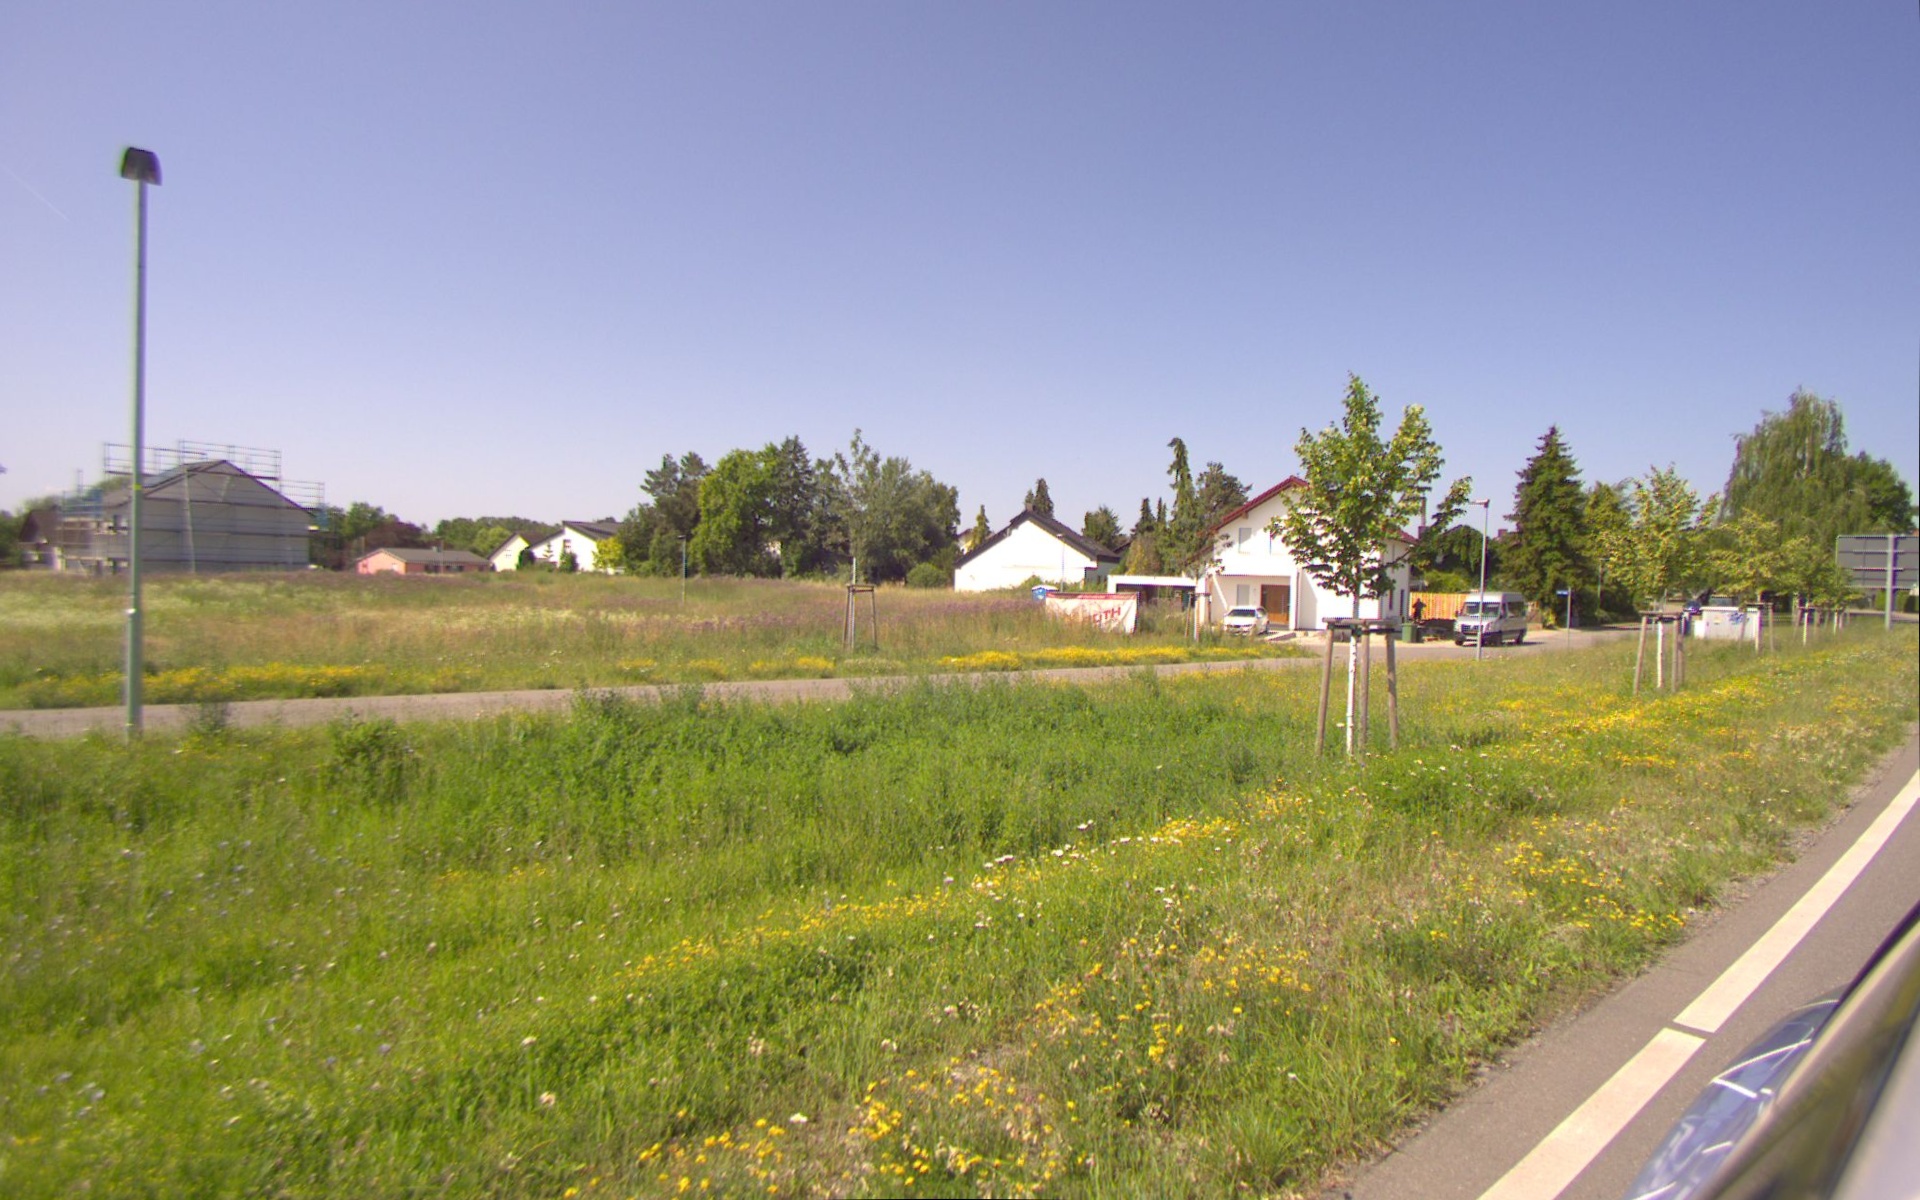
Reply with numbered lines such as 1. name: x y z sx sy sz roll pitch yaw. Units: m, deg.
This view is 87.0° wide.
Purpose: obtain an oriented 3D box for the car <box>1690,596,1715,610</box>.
1. car: 78.978 0.288 107.624 1.856 1.463 4.107 0 0 41

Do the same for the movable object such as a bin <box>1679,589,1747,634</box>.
1. movable object such as a bin: 44.811 0.594 60.172 2.317 2.494 6.834 1 1 44

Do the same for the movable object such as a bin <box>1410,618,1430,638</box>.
1. movable object such as a bin: 22.491 1.359 49.504 0.627 0.949 0.694 1 1 -40

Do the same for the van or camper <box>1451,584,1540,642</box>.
1. van or camper: 26.082 0.568 49.174 2.173 2.633 5.933 1 1 45

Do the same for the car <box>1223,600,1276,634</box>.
1. car: 14.736 0.814 51.359 1.550 1.577 4.440 0 0 30

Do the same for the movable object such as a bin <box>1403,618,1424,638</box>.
1. movable object such as a bin: 21.980 1.366 49.055 0.627 0.949 0.694 1 1 -40
